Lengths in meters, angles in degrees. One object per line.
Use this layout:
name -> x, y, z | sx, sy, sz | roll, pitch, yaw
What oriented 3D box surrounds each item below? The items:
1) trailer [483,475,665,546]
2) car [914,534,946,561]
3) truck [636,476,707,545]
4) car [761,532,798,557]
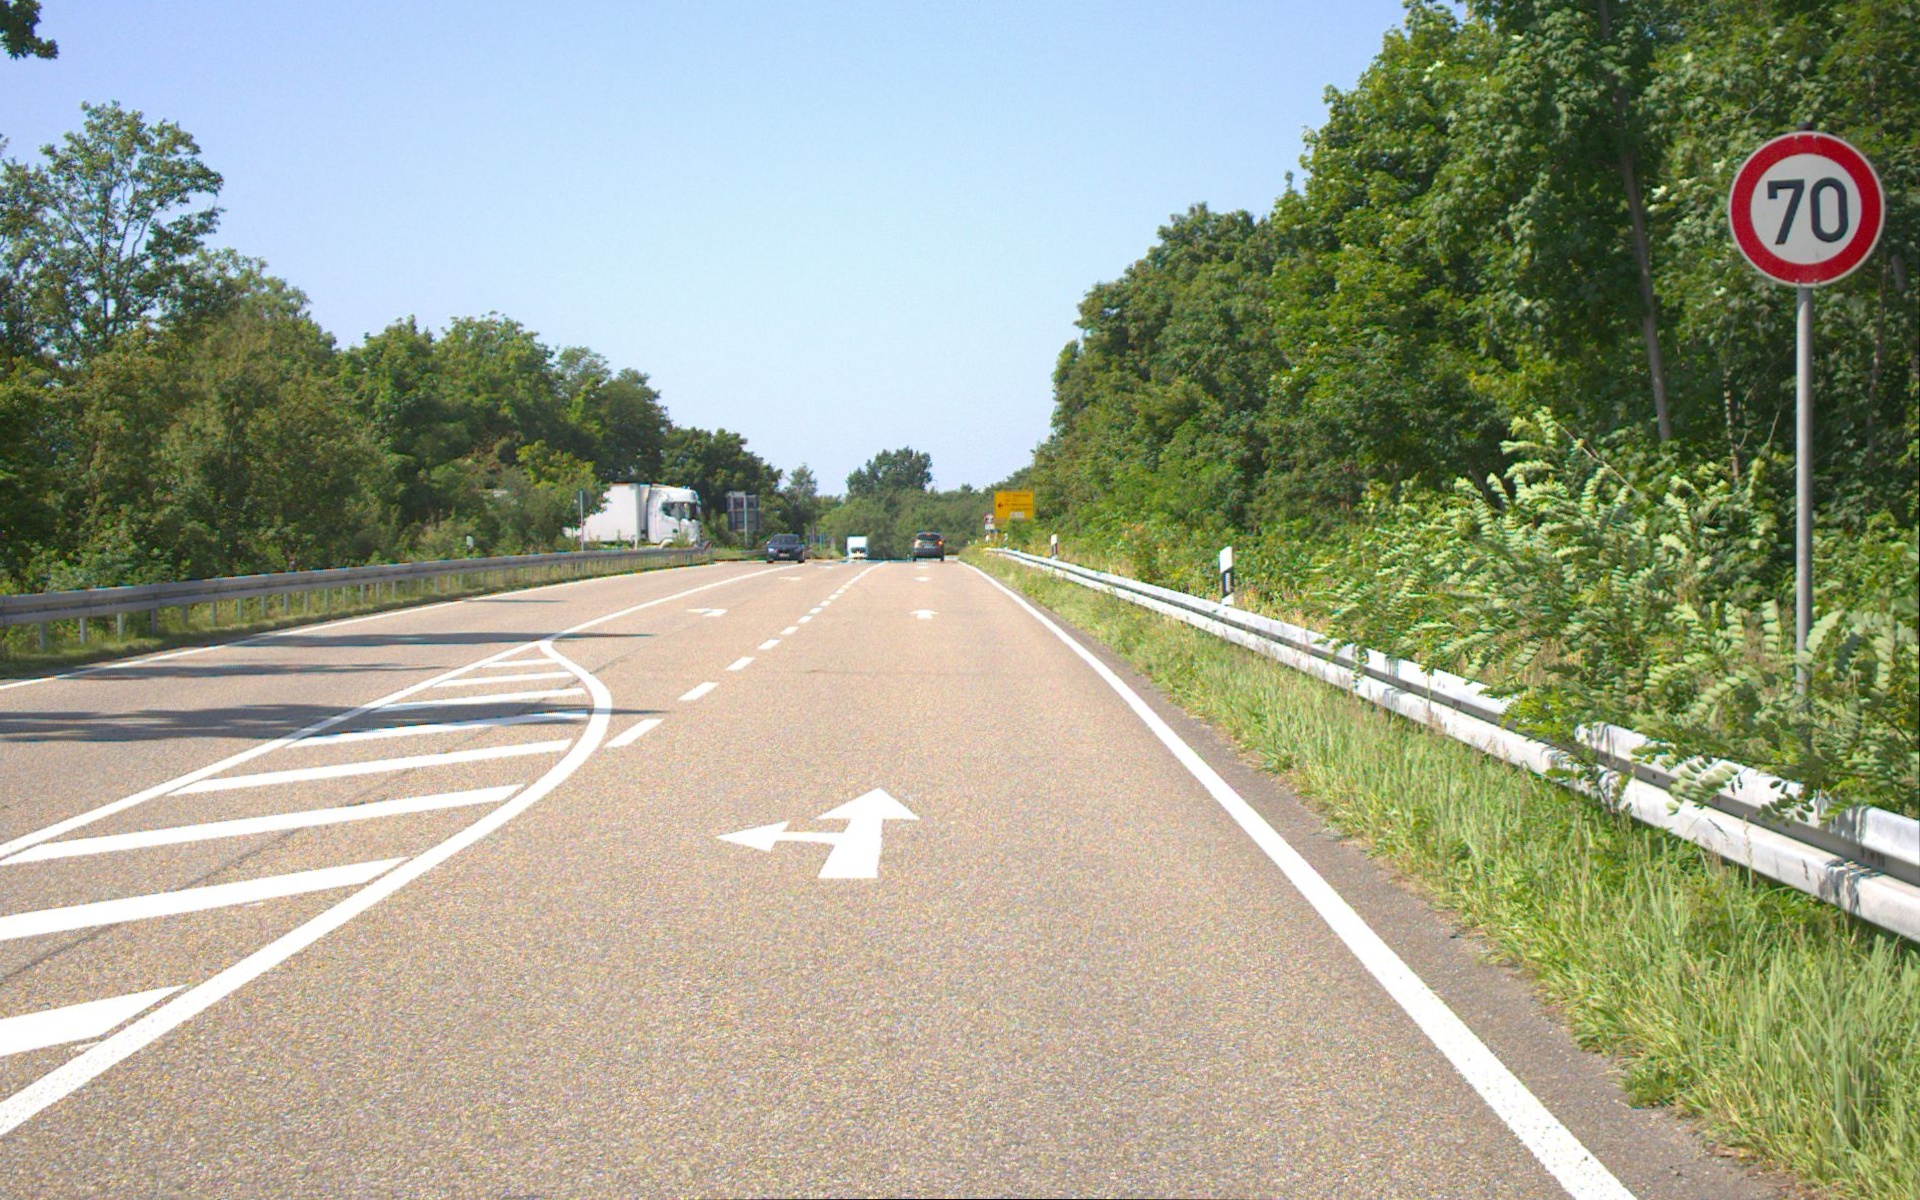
trailer -> -19.871, -4.612, 177.254 | 9.102, 3.566, 2.000 | 0, 1, 1
car -> -1.653, -2.888, 189.056 | 1.741, 1.465, 3.693 | 0, 1, -1
truck -> -14.863, -4.588, 177.107 | 3.465, 3.525, 2.000 | 0, 1, 1
car -> -9.125, -2.814, 173.908 | 1.730, 1.263, 3.905 | 0, 1, -1
